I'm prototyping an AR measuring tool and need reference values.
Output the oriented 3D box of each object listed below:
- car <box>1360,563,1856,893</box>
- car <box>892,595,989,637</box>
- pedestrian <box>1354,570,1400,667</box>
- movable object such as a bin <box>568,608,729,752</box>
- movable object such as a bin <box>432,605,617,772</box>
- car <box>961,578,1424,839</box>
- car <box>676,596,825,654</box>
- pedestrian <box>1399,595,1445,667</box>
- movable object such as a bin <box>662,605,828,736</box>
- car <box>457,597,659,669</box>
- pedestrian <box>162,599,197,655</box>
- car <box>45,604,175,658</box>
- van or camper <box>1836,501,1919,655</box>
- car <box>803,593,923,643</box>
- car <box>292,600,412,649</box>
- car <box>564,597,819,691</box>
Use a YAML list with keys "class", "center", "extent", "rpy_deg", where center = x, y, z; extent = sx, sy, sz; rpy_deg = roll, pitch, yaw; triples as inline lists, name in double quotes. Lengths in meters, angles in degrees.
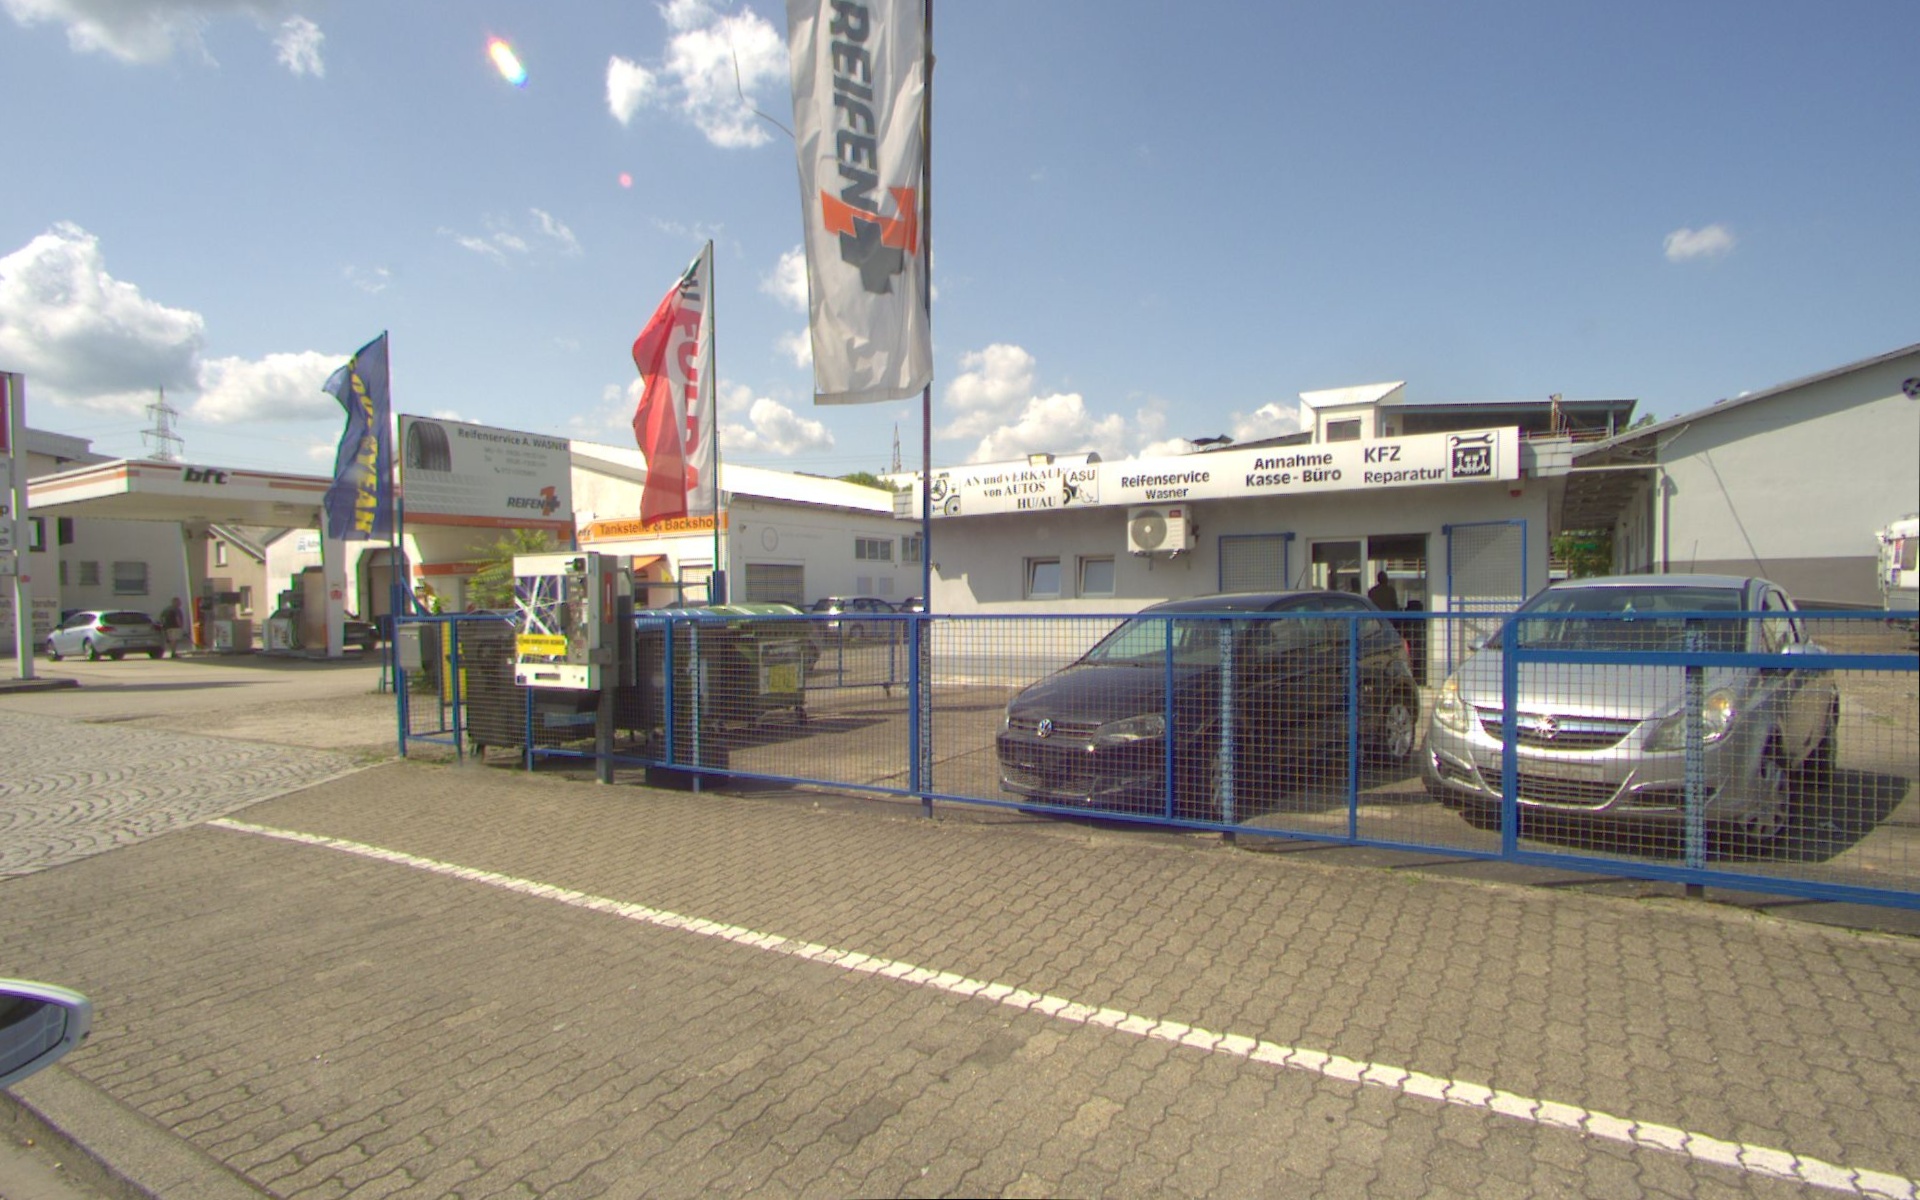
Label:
- class: "car"
  center: [4.270, 0.562, 6.376]
  extent: [3.729, 1.472, 1.757]
  rpy_deg: [-1, 0, -42]
- class: "car"
  center: [-0.639, 0.533, 35.732]
  extent: [1.564, 1.385, 3.860]
  rpy_deg: [0, 0, 33]
- class: "pedestrian"
  center: [7.351, 0.320, 17.641]
  extent: [0.654, 1.671, 0.563]
  rpy_deg: [0, 1, 34]
- class: "movable object such as a bin"
  center: [-3.328, 0.803, 10.734]
  extent: [1.225, 1.415, 1.106]
  rpy_deg: [0, 1, 31]
- class: "movable object such as a bin"
  center: [-4.161, 0.787, 9.603]
  extent: [1.225, 1.455, 1.106]
  rpy_deg: [0, 1, 31]
- class: "car"
  center: [1.888, 0.603, 7.488]
  extent: [3.655, 1.472, 1.625]
  rpy_deg: [-1, 0, -43]
- class: "car"
  center: [-5.718, 0.641, 27.815]
  extent: [1.564, 1.482, 4.187]
  rpy_deg: [0, 0, 33]
- class: "pedestrian"
  center: [8.045, 0.534, 17.434]
  extent: [0.654, 1.225, 0.563]
  rpy_deg: [0, 1, 34]
- class: "movable object such as a bin"
  center: [-2.535, 0.783, 11.898]
  extent: [1.318, 1.415, 1.400]
  rpy_deg: [0, 1, 31]
- class: "car"
  center: [-9.166, 0.688, 23.160]
  extent: [1.564, 1.482, 4.187]
  rpy_deg: [0, 0, 33]
- class: "pedestrian"
  center: [-23.776, 0.799, 30.514]
  extent: [0.698, 1.679, 0.546]
  rpy_deg: [-1, 1, -22]
- class: "car"
  center: [-25.737, 0.899, 30.304]
  extent: [3.776, 1.523, 1.803]
  rpy_deg: [0, 0, 30]
- class: "van or camper"
  center: [21.014, -0.452, 19.523]
  extent: [5.571, 3.005, 2.264]
  rpy_deg: [0, 1, 31]
- class: "car"
  center: [-3.015, 0.526, 32.046]
  extent: [1.564, 1.482, 4.187]
  rpy_deg: [0, 0, 33]
- class: "car"
  center: [-20.027, 0.771, 32.950]
  extent: [3.777, 1.523, 1.803]
  rpy_deg: [0, 0, 31]
- class: "car"
  center: [-4.617, 0.688, 17.780]
  extent: [1.653, 1.434, 4.255]
  rpy_deg: [0, 0, 38]
